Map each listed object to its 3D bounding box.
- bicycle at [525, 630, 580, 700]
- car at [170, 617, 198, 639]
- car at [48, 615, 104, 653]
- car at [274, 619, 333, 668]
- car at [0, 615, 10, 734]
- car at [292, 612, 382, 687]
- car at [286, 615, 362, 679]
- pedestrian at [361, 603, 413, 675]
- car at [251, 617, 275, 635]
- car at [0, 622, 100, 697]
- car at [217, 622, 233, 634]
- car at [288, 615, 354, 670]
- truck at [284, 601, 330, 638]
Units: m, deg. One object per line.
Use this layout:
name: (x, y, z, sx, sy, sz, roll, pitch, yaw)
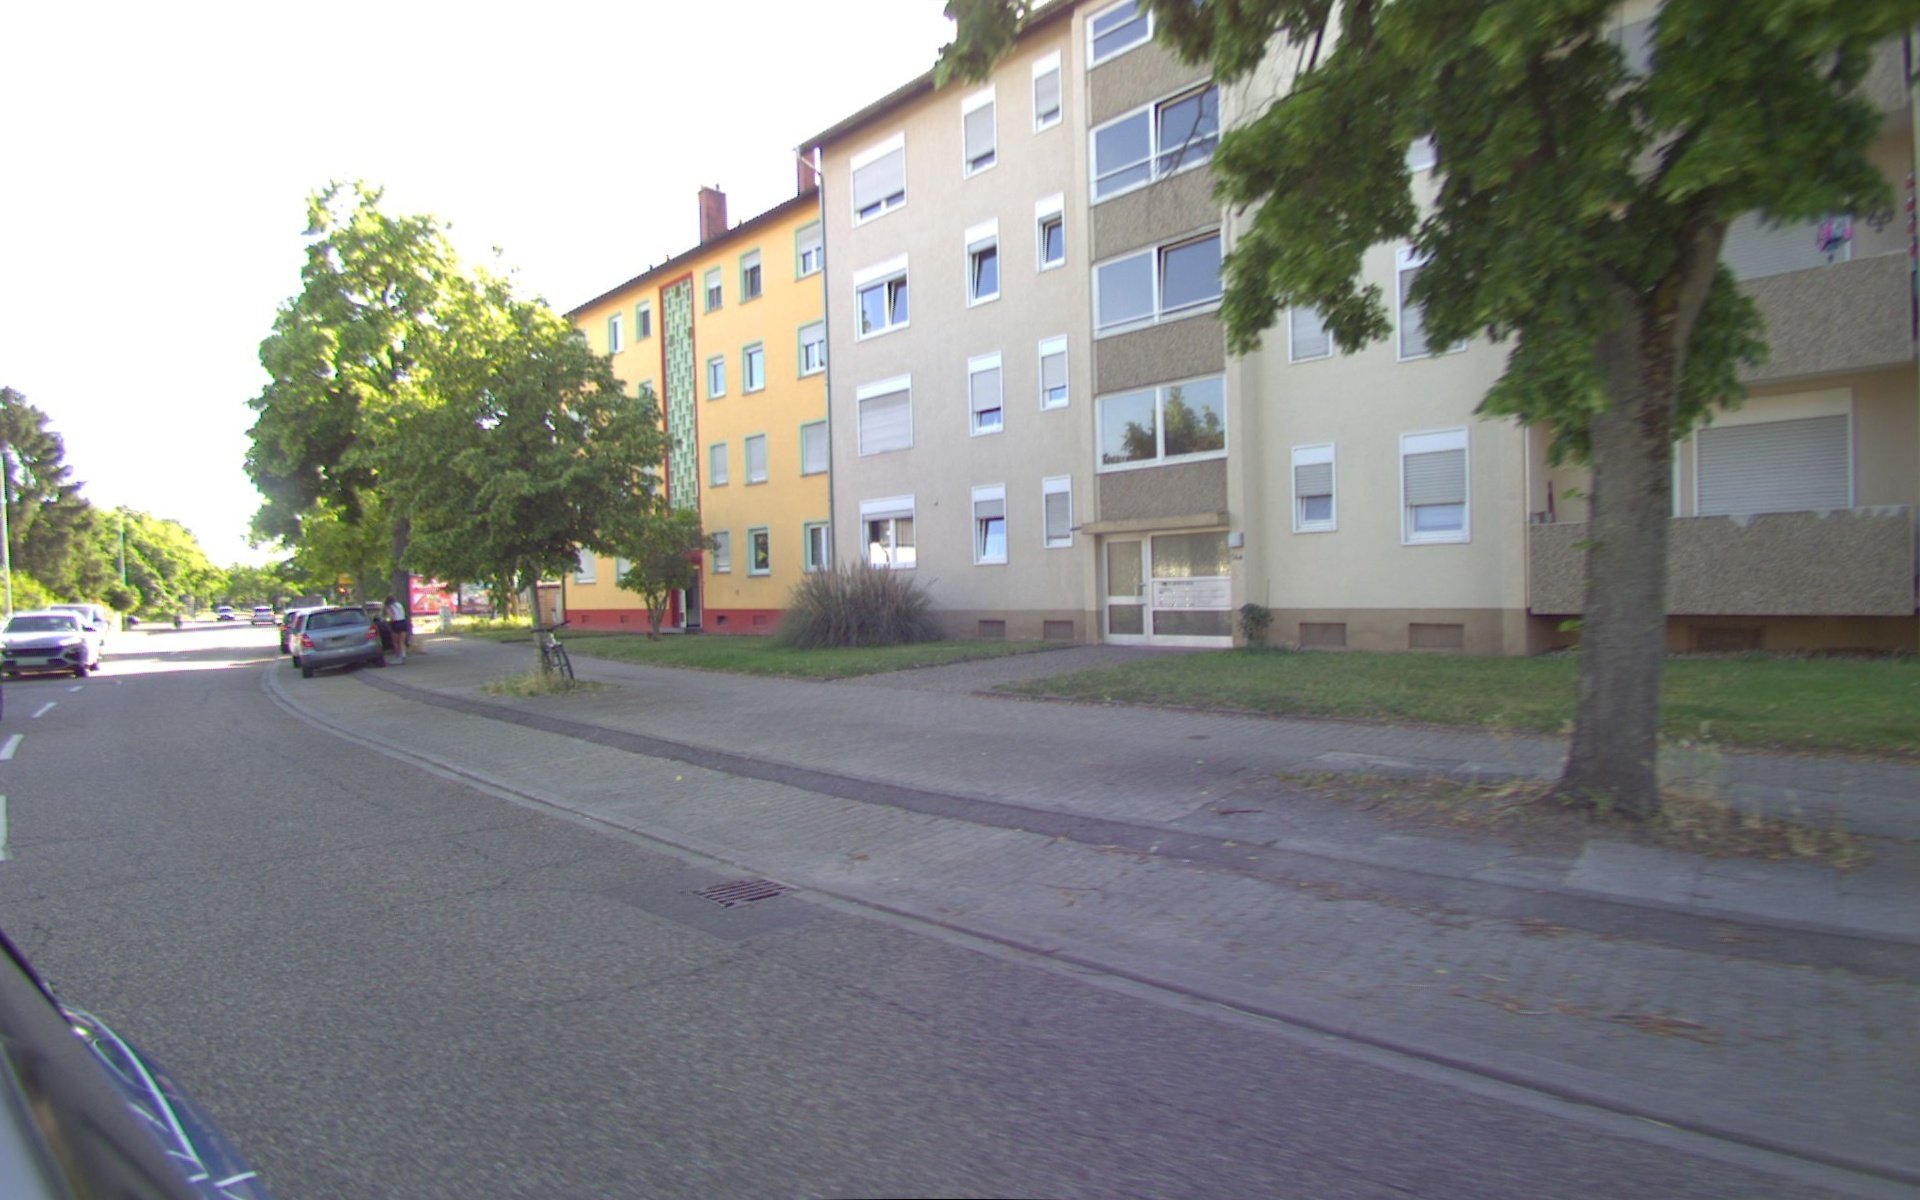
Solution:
bicycle: (-6.247, 0.987, 15.501, 0.353, 1.015, 1.201, -4, 0, -41)
car: (-59.717, 2.180, 77.878, 1.615, 1.590, 3.711, -2, 0, -37)
car: (-39.810, 1.506, 45.637, 1.615, 1.590, 3.711, -2, 0, -37)
car: (-23.110, 1.494, 35.622, 1.625, 1.551, 3.714, -2, 0, -33)
car: (-13.460, 1.030, 12.764, 1.750, 1.646, 3.711, -2, 0, -37)
car: (-14.603, 1.104, 23.647, 1.625, 1.551, 3.714, -2, 0, -33)
car: (-17.405, 1.237, 27.645, 1.625, 1.551, 3.714, -2, 0, -33)
pedestrian: (-13.570, 0.906, 23.990, 0.945, 1.640, 0.735, -2, 0, -21)
car: (-60.252, 2.221, 87.480, 1.523, 1.476, 3.711, -2, 0, -37)
car: (-21.997, 1.382, 24.510, 1.556, 1.590, 3.711, -2, 0, -37)
car: (-95.005, 3.570, 130.836, 1.523, 1.476, 3.711, -2, 0, -37)
car: (-20.046, 1.300, 31.721, 1.625, 1.551, 3.714, -2, 0, -33)
truck: (-44.390, 1.311, 68.903, 2.374, 2.384, 4.539, -2, 0, -30)
